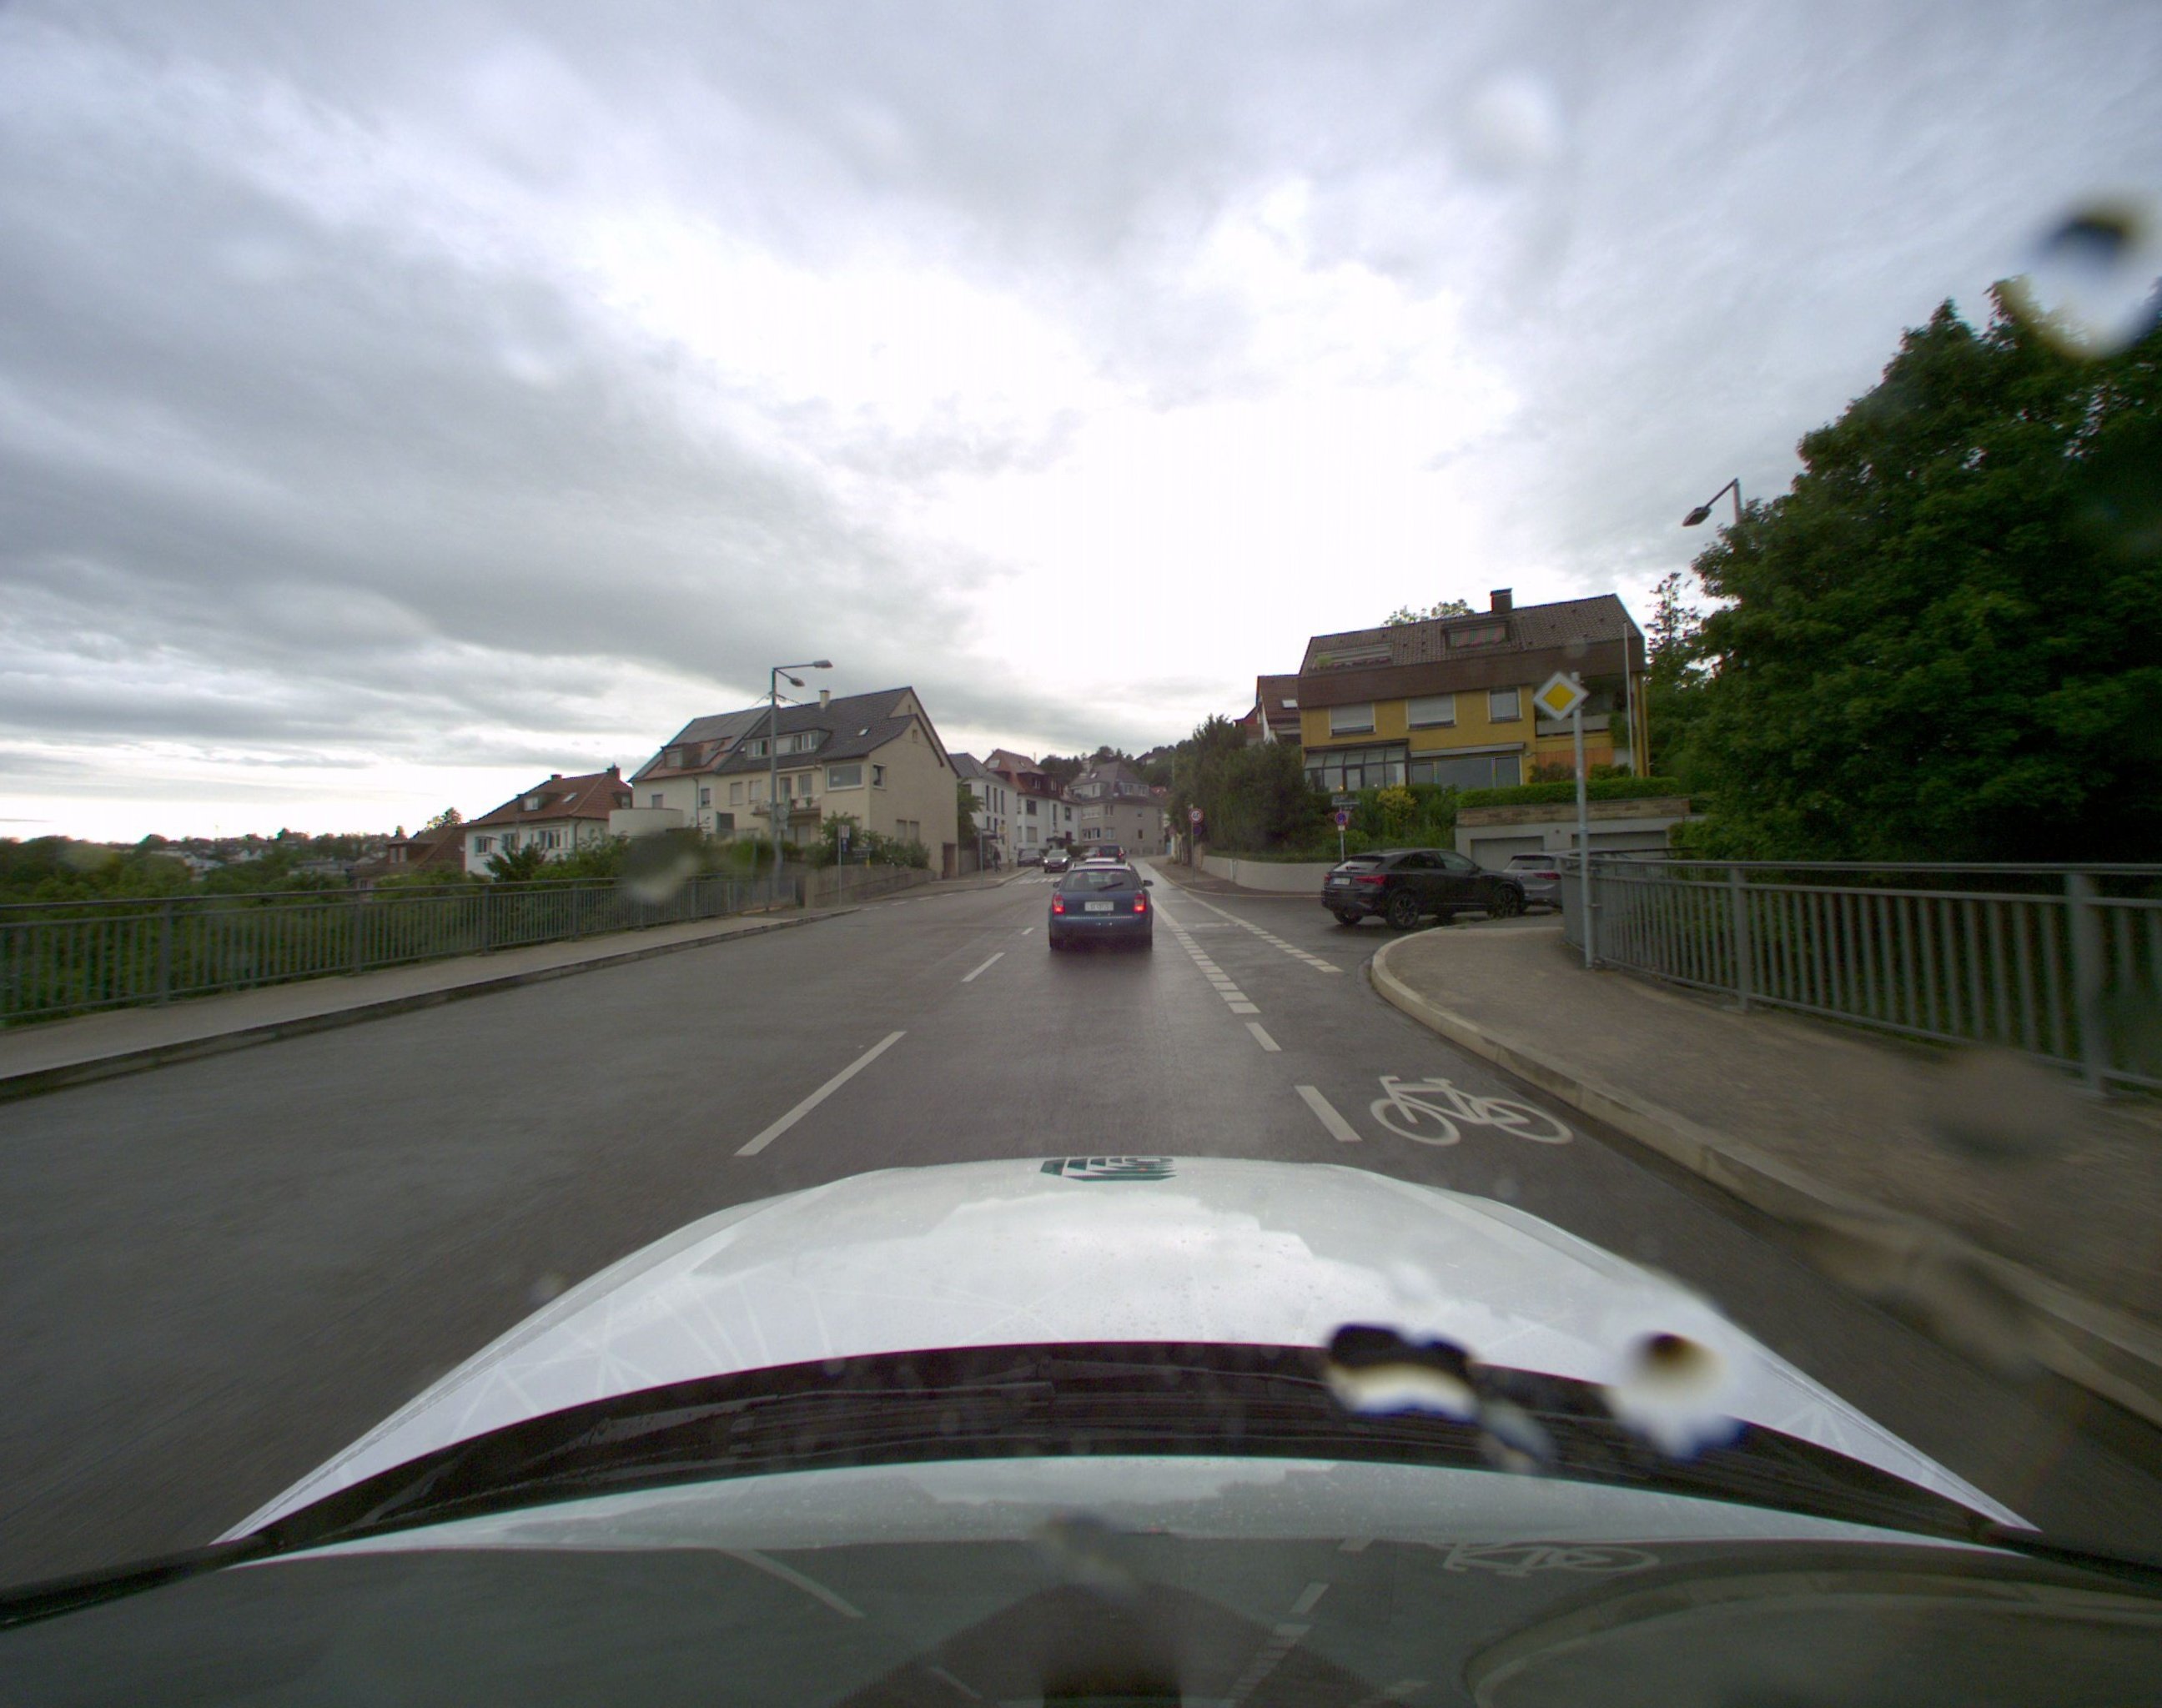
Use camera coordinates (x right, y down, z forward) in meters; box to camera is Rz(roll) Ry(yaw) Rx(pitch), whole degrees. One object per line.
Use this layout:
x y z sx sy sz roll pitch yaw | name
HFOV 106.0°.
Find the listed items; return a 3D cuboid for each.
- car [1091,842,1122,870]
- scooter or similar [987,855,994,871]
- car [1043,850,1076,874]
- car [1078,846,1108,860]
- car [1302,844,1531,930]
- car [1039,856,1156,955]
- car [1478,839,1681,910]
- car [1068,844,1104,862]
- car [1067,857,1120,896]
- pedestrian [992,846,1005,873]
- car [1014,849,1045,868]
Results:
1.764 0.130 55.705 1.920 1.706 4.003 -3 0 3 | car
-7.260 0.706 65.563 0.336 1.219 1.124 -1 0 3 | scooter or similar
-1.487 0.566 57.734 1.725 1.545 4.006 -3 0 6 | car
1.414 -0.091 95.411 1.819 1.425 4.254 -4 0 24 | car
6.954 0.605 16.923 4.204 1.522 1.986 -2 0 -22 | car
0.363 0.811 14.685 1.804 1.439 4.085 0 1 3 | car
11.425 0.441 18.711 4.056 1.425 1.789 -2 -1 -19 | car
0.620 -0.102 104.467 3.948 1.822 2.013 -8 -2 30 | car
0.407 0.798 30.715 1.806 1.361 3.997 0 -1 -2 | car
-5.735 0.368 56.444 0.783 1.857 0.728 -1 0 2 | pedestrian
-4.348 0.319 70.046 1.820 1.485 4.999 -3 0 5 | car
